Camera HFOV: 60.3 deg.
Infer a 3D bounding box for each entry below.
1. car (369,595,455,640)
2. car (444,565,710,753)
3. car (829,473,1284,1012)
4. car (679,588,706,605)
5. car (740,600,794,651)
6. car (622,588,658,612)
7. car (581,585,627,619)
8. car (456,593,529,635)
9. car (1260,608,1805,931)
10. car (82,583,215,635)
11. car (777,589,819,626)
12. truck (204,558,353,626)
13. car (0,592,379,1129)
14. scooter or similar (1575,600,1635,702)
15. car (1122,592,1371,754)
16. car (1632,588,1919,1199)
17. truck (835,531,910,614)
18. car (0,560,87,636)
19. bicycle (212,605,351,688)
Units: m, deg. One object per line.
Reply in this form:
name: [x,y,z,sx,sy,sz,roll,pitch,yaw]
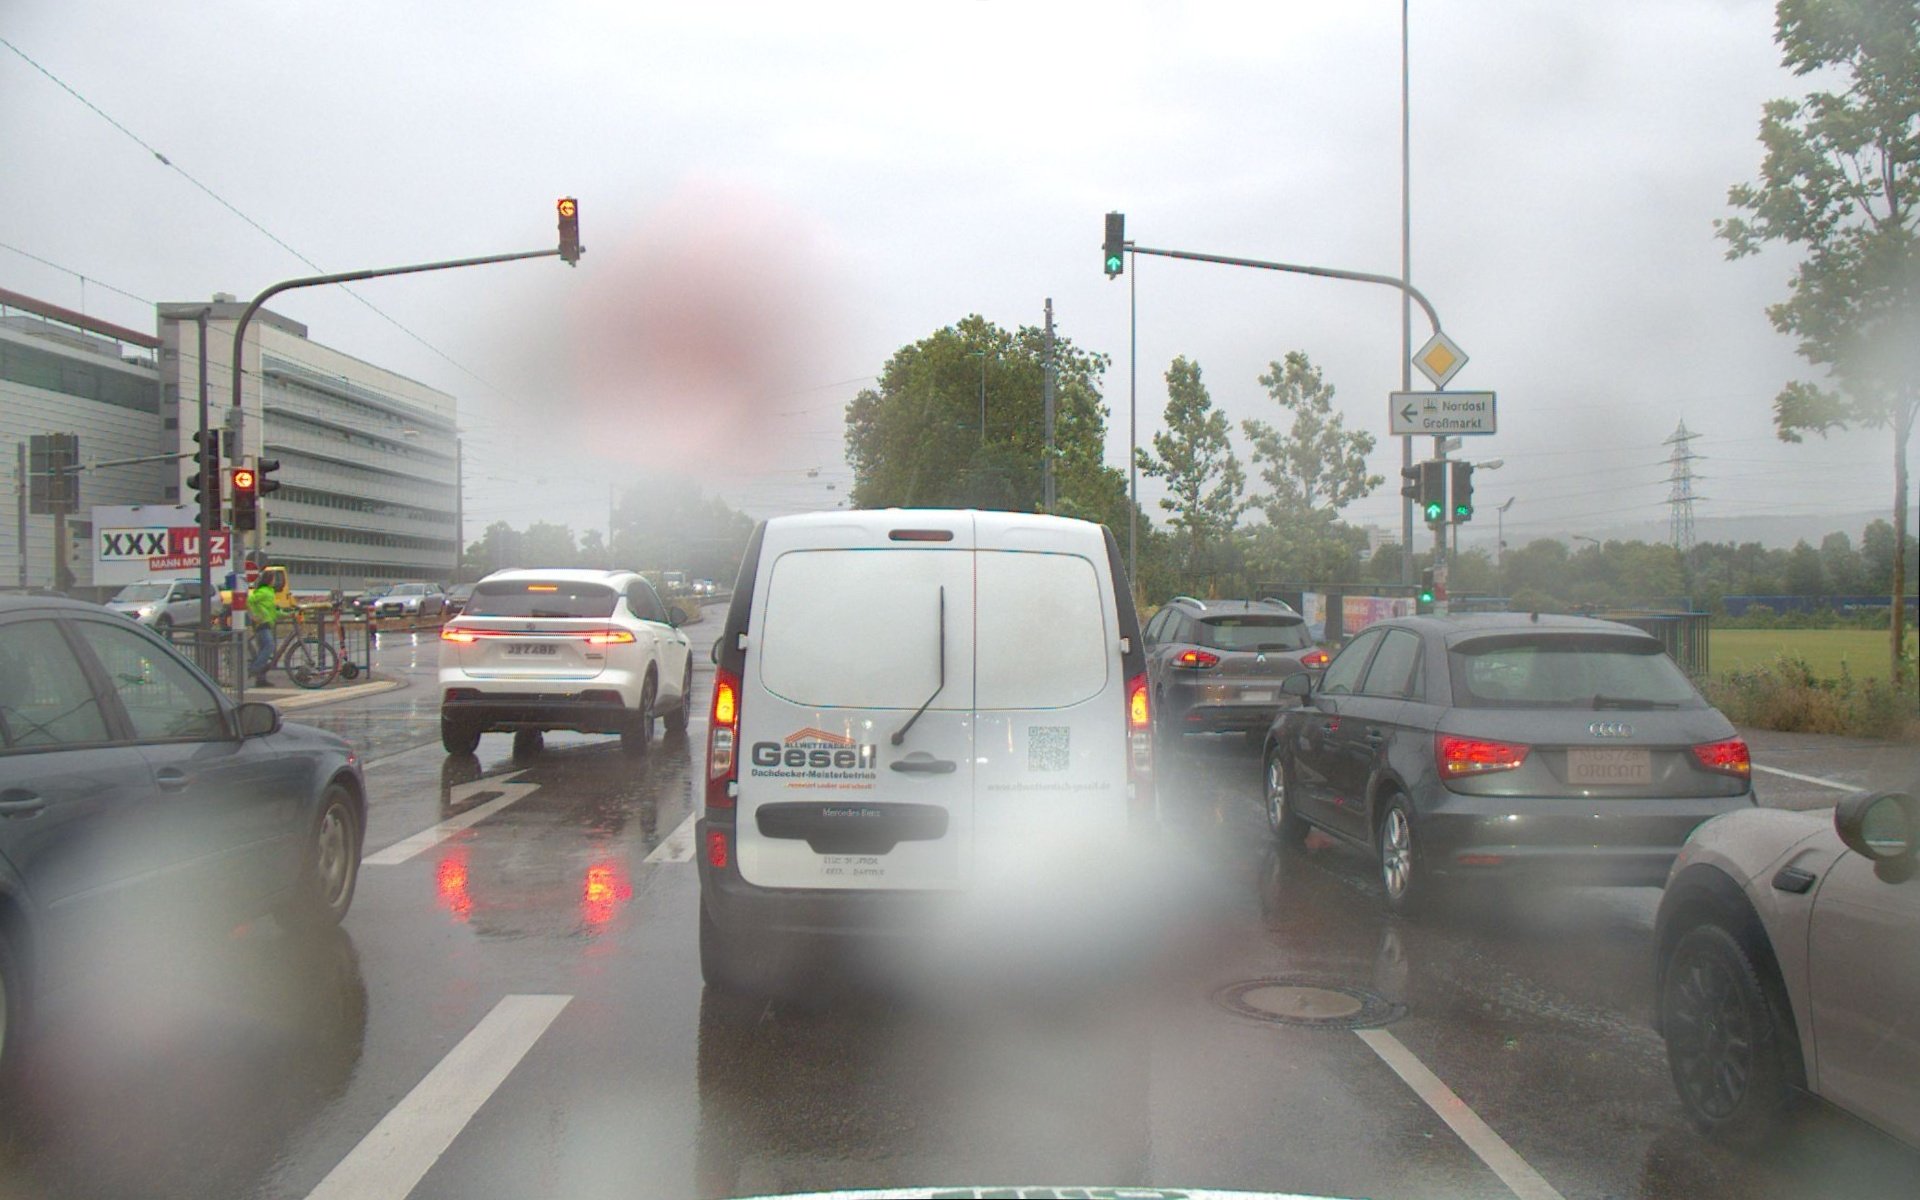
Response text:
car: [-21.684,0.687,65.615,1.853,1.729,4.001,1,0,3]
car: [-3.549,0.476,16.090,1.694,1.562,4.296,1,1,-2]
car: [0.303,0.489,7.613,1.534,1.819,3.999,0,0,-1]
car: [-26.831,-0.338,165.812,1.952,1.738,4.000,1,0,1]
car: [-7.447,0.966,63.748,1.956,1.892,3.994,1,0,-7]
car: [-22.455,0.013,116.223,1.727,1.577,3.680,1,0,1]
car: [-22.213,0.150,103.373,1.952,2.049,4.000,1,0,1]
car: [-21.136,0.626,74.939,1.889,1.859,4.002,1,0,4]
car: [2.814,0.746,8.969,1.596,1.368,3.622,1,0,-2]
car: [-22.261,0.255,45.525,1.554,1.359,3.832,1,-1,4]
car: [-8.787,0.424,90.037,1.953,1.892,3.998,2,-1,-2]
truck: [-24.985,-0.276,61.069,2.303,2.319,7.632,1,0,0]
car: [-3.442,0.684,5.265,1.727,1.423,4.642,1,-1,-3]
scooter or similar: [7.656,0.592,19.662,0.240,1.178,1.186,1,0,1]
car: [2.854,0.668,17.294,1.822,1.453,3.806,1,1,-2]
car: [2.938,0.758,3.228,1.679,1.534,3.622,1,0,-2]
truck: [-3.266,-0.944,61.095,2.580,2.865,7.140,1,0,-4]
car: [-25.488,-0.058,44.218,1.952,1.937,4.001,2,-1,2]
bicycle: [-9.591,0.653,23.403,1.716,1.052,0.414,4,-1,-3]
